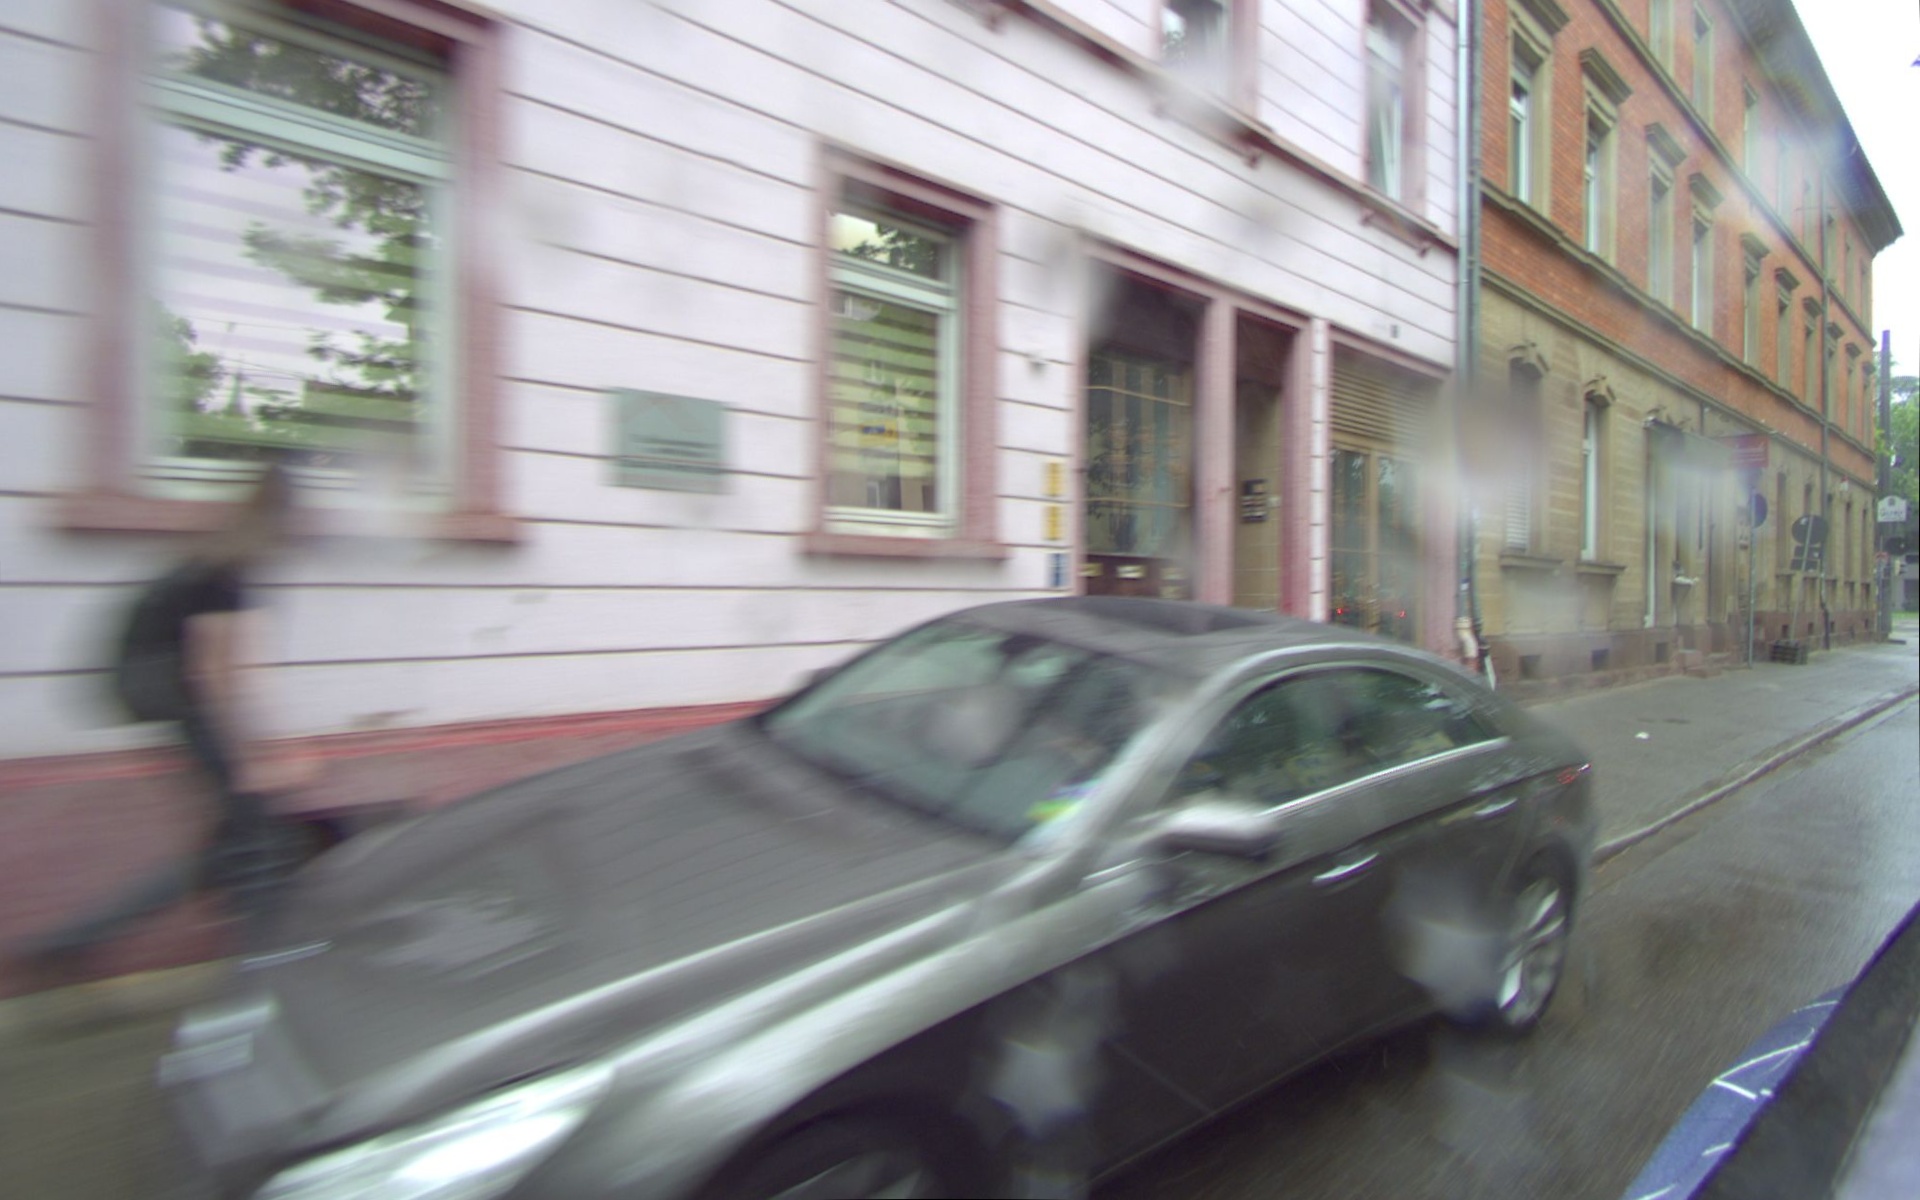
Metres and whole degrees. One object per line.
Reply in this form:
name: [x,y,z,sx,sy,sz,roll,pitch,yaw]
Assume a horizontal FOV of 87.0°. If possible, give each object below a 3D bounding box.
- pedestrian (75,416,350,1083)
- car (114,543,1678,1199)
pedestrian: [-2.233,0.370,3.011,0.593,1.705,0.640,0,3,-42]
car: [0.376,0.630,3.199,4.611,1.438,1.819,0,4,-38]
